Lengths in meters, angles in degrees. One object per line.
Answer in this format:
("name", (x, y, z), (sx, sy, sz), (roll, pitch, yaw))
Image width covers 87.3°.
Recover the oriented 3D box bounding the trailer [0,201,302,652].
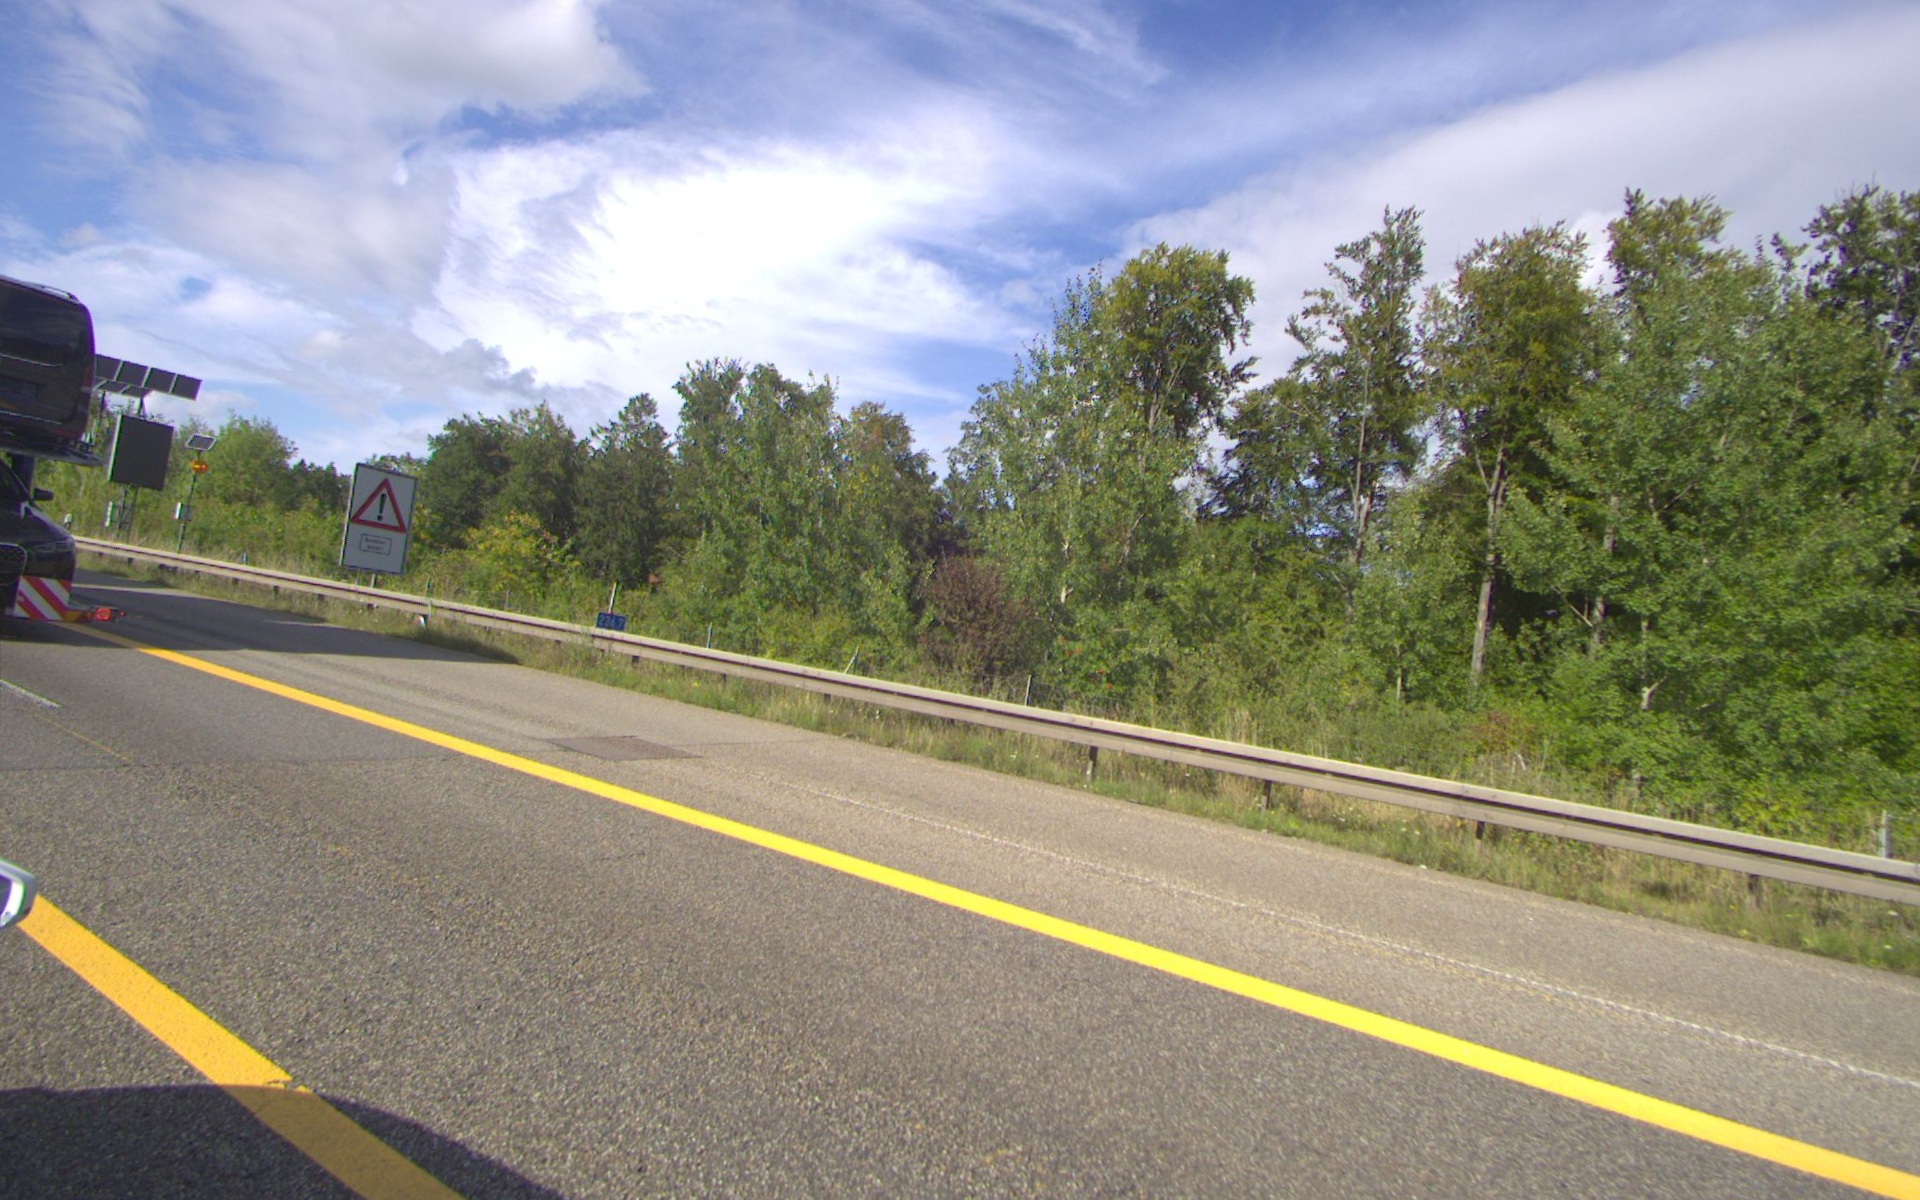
("trailer", (-15.860, -2.436, 14.690), (15.958, 4.245, 3.733), (6, -2, 32))
